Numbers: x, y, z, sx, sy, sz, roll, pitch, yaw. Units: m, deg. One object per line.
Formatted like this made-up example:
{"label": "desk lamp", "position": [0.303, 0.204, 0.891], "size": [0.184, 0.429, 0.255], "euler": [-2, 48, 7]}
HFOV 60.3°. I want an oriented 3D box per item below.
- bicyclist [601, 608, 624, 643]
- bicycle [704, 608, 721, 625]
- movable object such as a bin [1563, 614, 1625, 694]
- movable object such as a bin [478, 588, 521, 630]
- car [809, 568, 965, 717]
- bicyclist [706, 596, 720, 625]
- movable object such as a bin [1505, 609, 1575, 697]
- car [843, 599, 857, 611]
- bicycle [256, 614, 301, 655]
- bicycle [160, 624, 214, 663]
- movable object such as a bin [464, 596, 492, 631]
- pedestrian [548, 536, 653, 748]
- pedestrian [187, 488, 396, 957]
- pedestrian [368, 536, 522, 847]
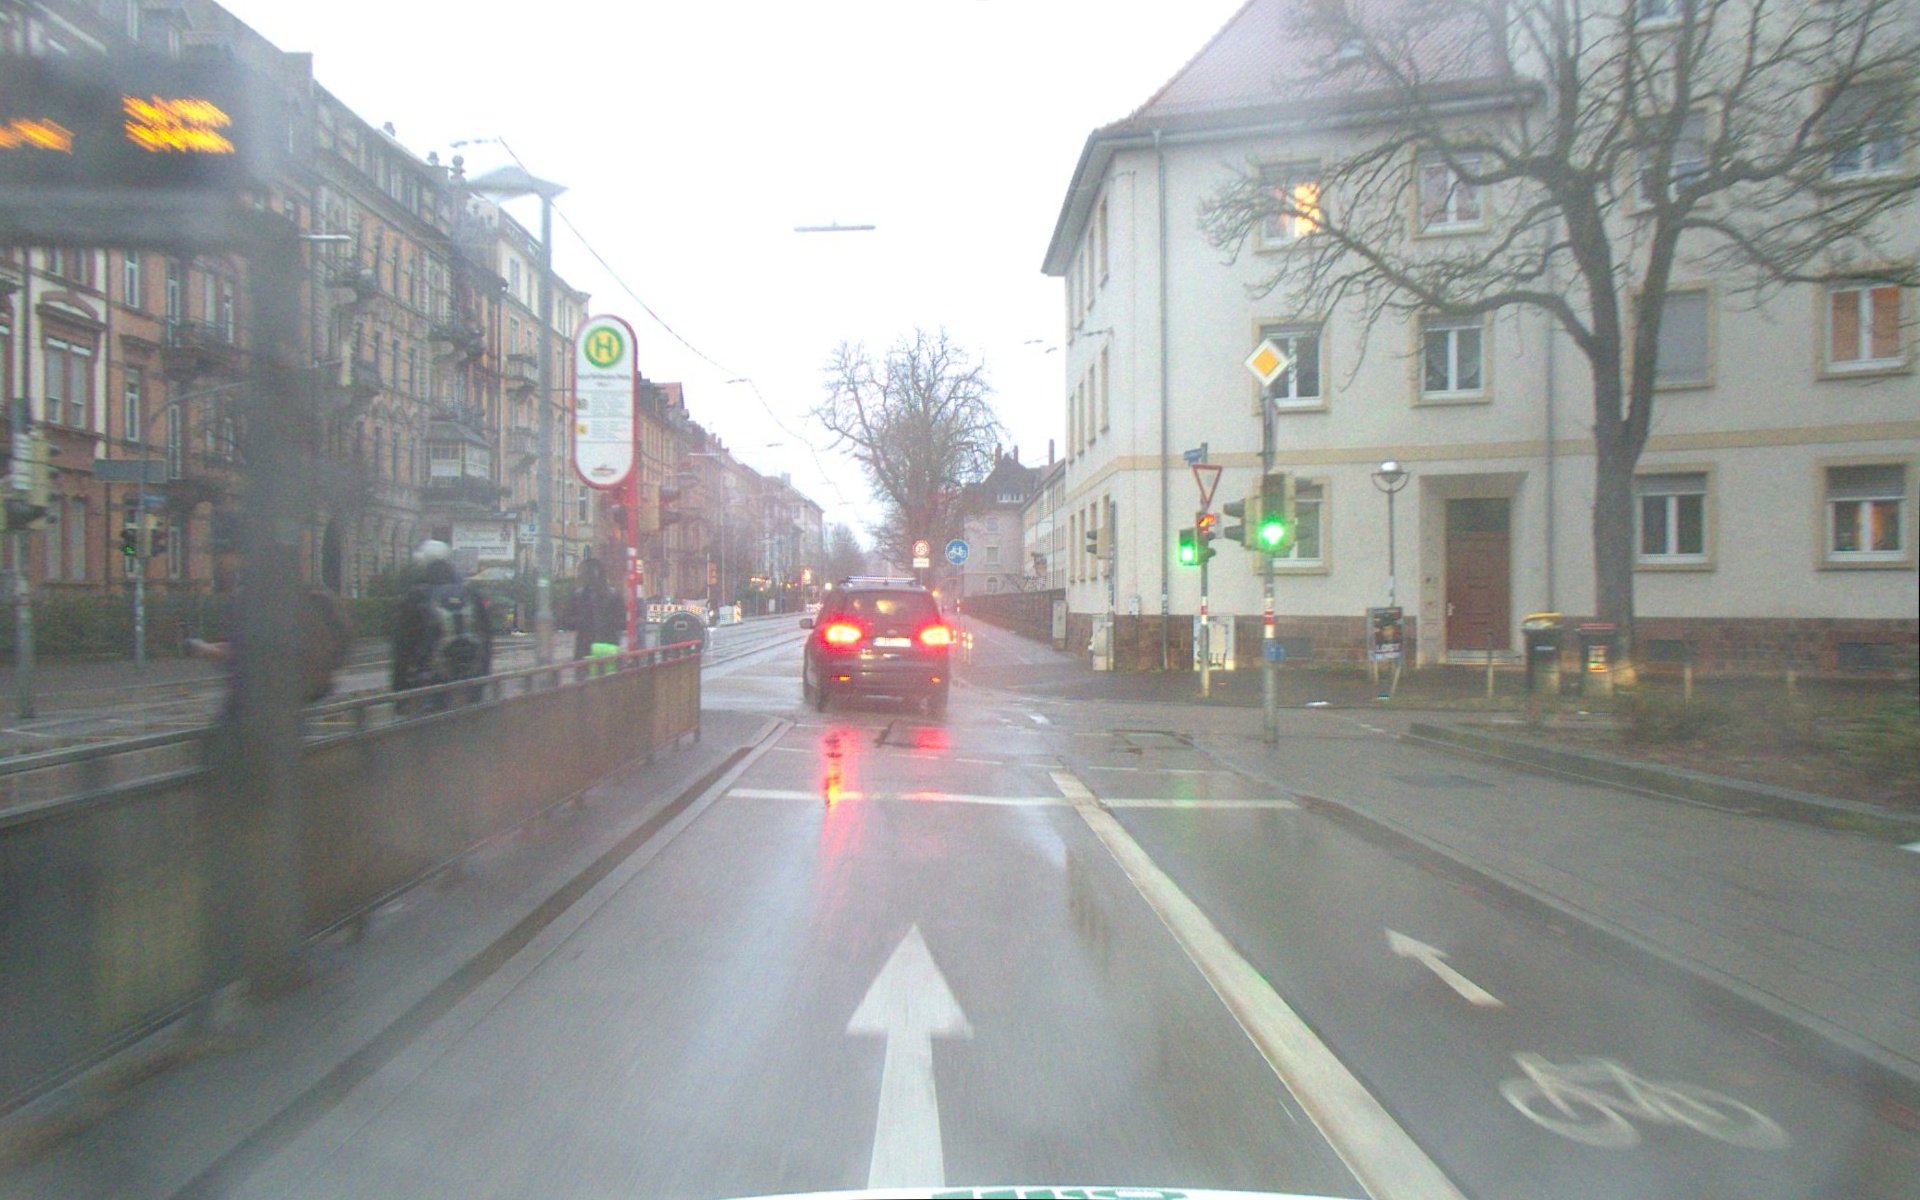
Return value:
{"label": "bicyclist", "position": [-13.829, 1.007, 65.828], "size": [0.690, 1.388, 0.944], "euler": [2, 0, -1]}
{"label": "bicycle", "position": [-14.385, 0.967, 96.243], "size": [0.664, 0.989, 1.933], "euler": [0, 0, 0]}
{"label": "movable object such as a bin", "position": [9.468, 0.799, 24.696], "size": [0.688, 1.139, 0.535], "euler": [2, 0, 41]}
{"label": "movable object such as a bin", "position": [-17.771, 0.342, 63.853], "size": [1.218, 1.613, 1.308], "euler": [1, 0, 3]}
{"label": "car", "position": [-1.151, 0.563, 24.033], "size": [1.769, 1.903, 4.010], "euler": [3, 0, -9]}
{"label": "bicyclist", "position": [-14.381, 0.614, 96.230], "size": [0.670, 1.644, 0.765], "euler": [0, 0, 0]}
{"label": "movable object such as a bin", "position": [8.847, 0.803, 25.229], "size": [0.839, 1.273, 0.519], "euler": [2, 0, 42]}
{"label": "car", "position": [-16.407, 0.729, 246.515], "size": [1.884, 1.750, 3.999], "euler": [0, 0, -1]}
{"label": "bicycle", "position": [-17.877, 0.889, 43.429], "size": [0.407, 1.024, 1.849], "euler": [0, 0, 0]}
{"label": "bicycle", "position": [-18.030, 1.000, 38.594], "size": [0.391, 0.877, 1.849], "euler": [0, 0, 0]}
{"label": "movable object such as a bin", "position": [-18.323, 0.499, 62.909], "size": [0.877, 1.315, 0.746], "euler": [1, 0, -4]}
{"label": "pedestrian", "position": [-3.431, 0.393, 15.835], "size": [0.672, 1.951, 0.718], "euler": [3, 0, 10]}
{"label": "pedestrian", "position": [-2.757, 0.486, 6.868], "size": [0.546, 1.839, 0.571], "euler": [3, 0, -1]}
{"label": "pedestrian", "position": [-3.003, 0.520, 9.690], "size": [0.644, 1.738, 0.571], "euler": [3, 0, -1]}
